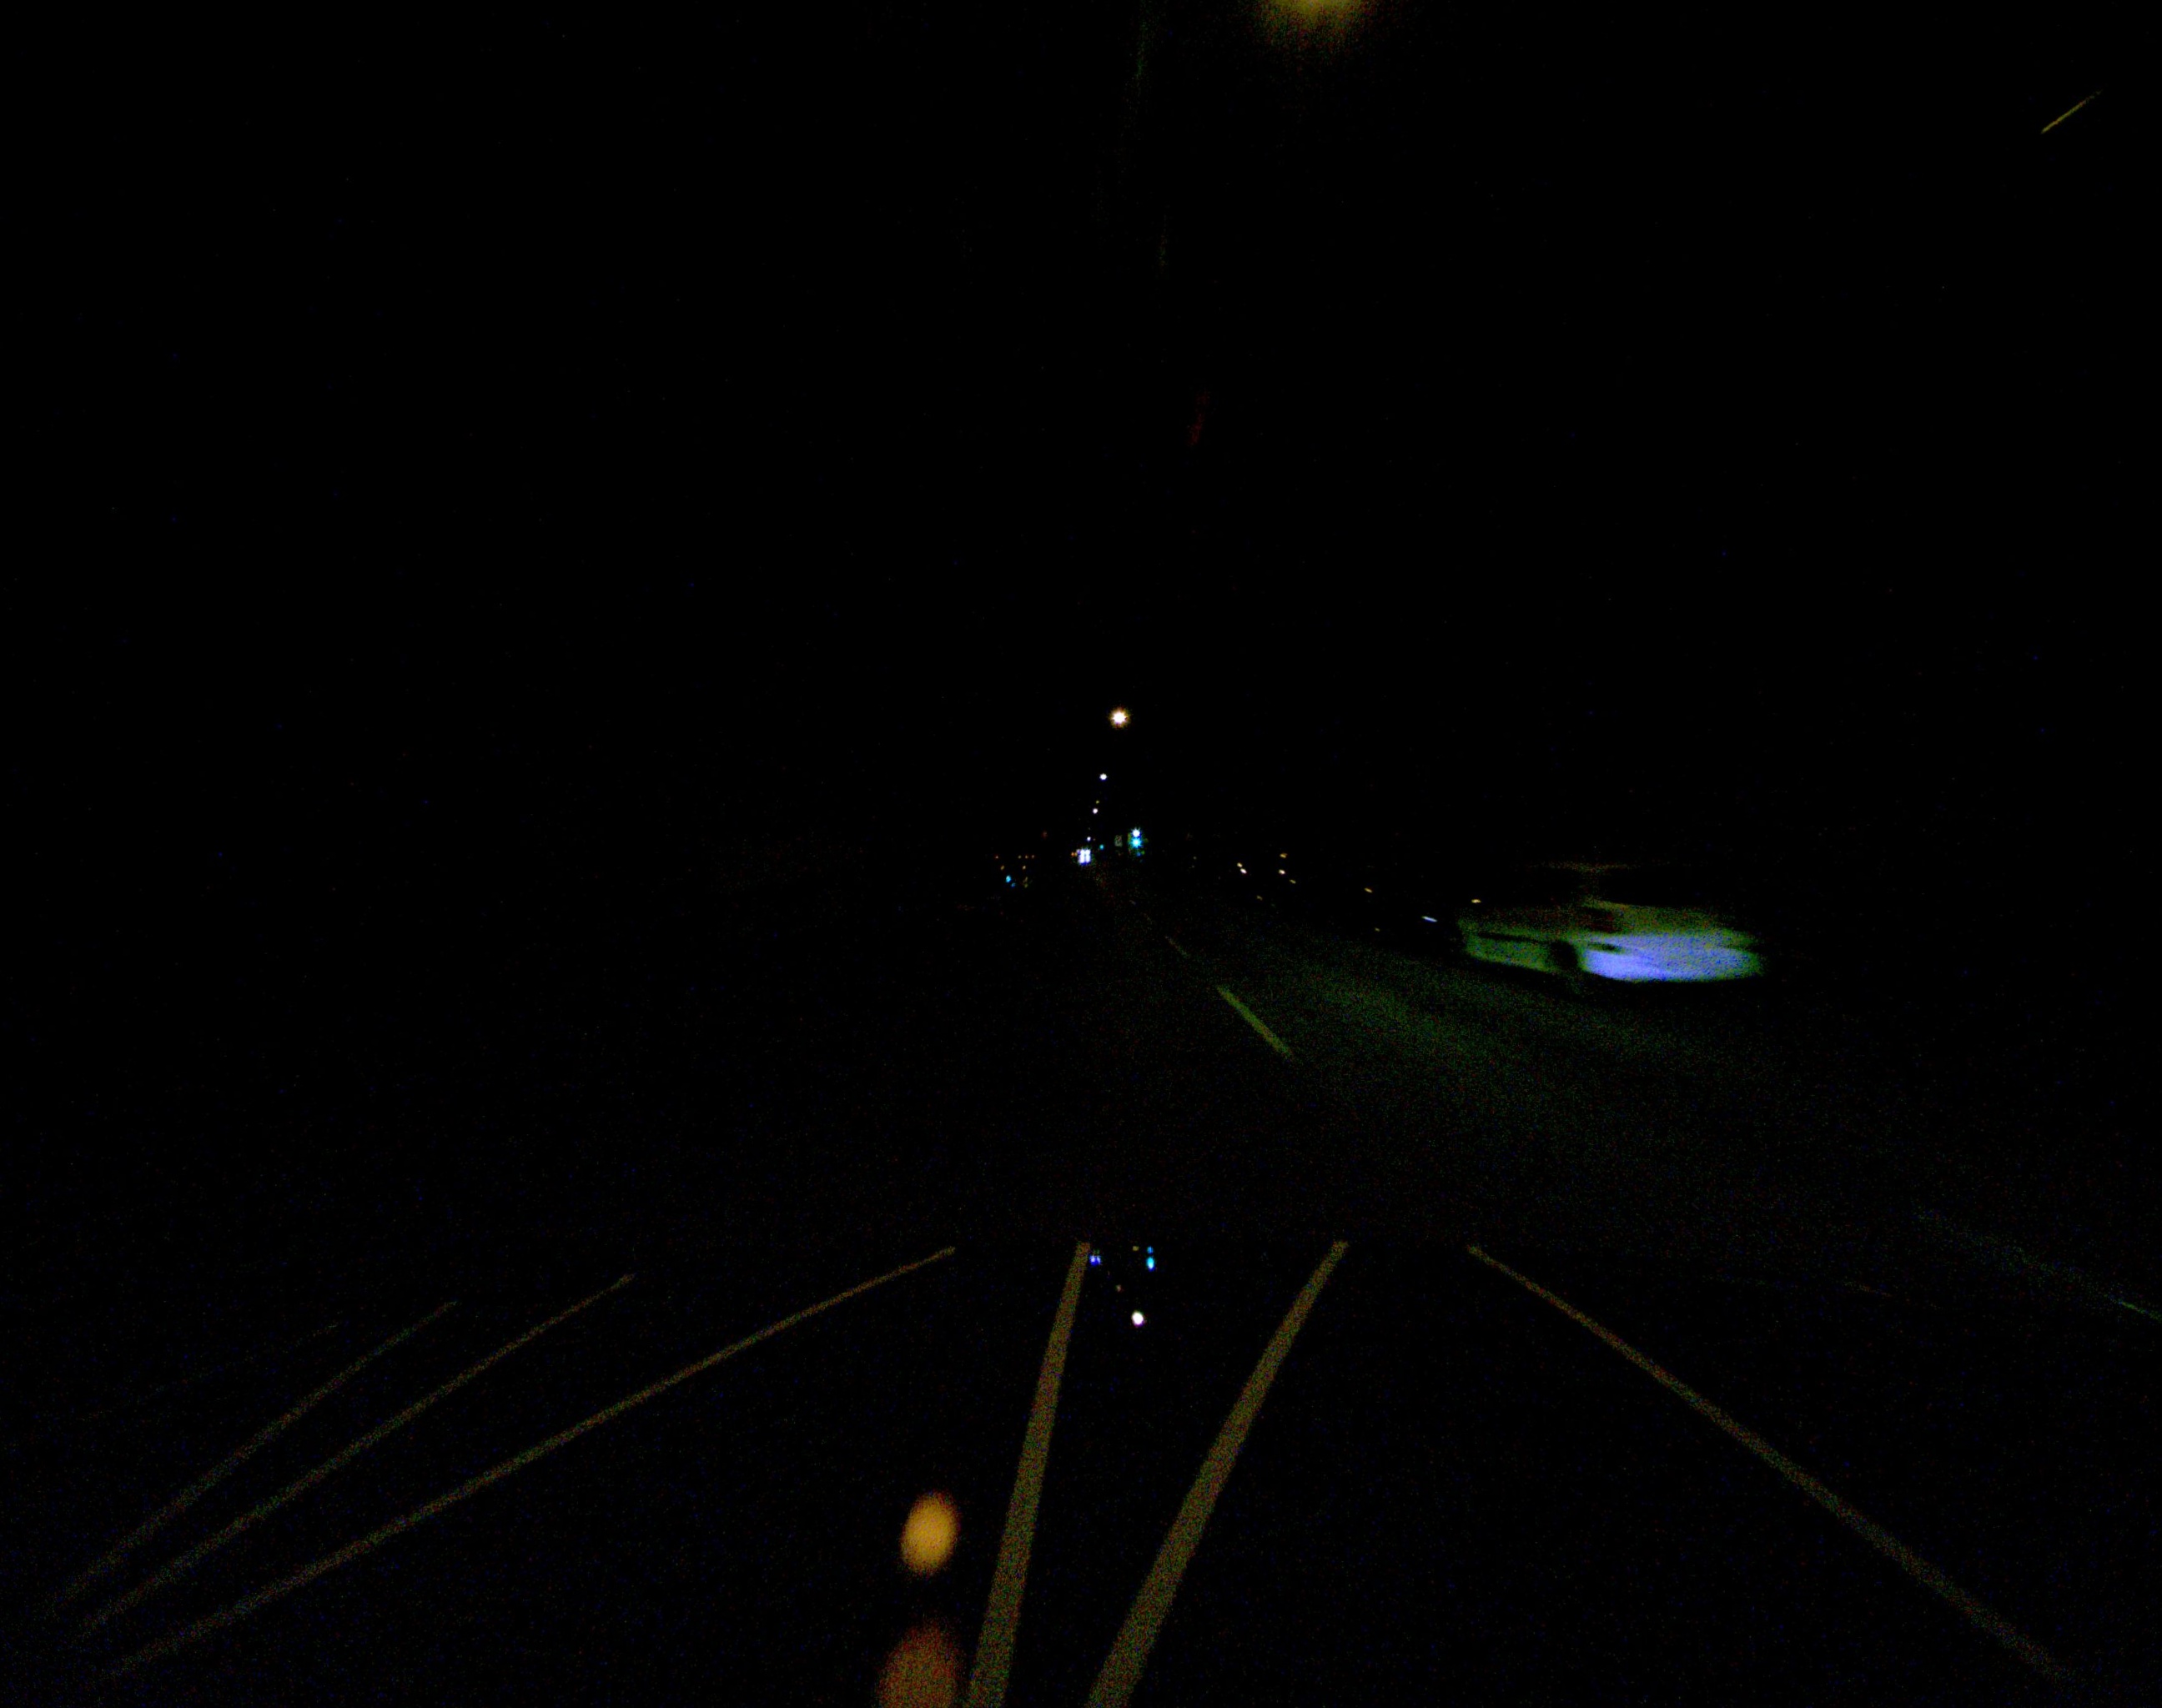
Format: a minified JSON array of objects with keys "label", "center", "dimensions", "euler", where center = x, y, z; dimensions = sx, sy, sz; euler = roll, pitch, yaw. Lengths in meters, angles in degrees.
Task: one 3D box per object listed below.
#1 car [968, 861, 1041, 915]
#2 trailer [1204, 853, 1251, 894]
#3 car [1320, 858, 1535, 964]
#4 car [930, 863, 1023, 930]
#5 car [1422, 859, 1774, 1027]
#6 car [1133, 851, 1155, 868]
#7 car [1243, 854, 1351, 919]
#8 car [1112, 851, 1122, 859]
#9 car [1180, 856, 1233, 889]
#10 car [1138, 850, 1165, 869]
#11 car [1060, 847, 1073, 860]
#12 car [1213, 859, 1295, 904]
[{"label":"car","center":[-2.355,1.012,24.572],"dimensions":[1.850,1.409,4.644],"euler":[2,1,0]},{"label":"trailer","center":[6.330,0.810,33.210],"dimensions":[1.641,1.630,3.440],"euler":[-1,1,5]},{"label":"car","center":[5.905,0.867,13.606],"dimensions":[1.868,1.483,4.279],"euler":[-1,1,0]},{"label":"car","center":[-2.510,0.976,19.146],"dimensions":[1.775,1.439,4.019],"euler":[0,0,0]},{"label":"car","center":[5.777,0.862,9.121],"dimensions":[1.626,1.483,3.780],"euler":[-1,1,0]},{"label":"car","center":[6.255,0.533,75.593],"dimensions":[1.652,1.506,3.700],"euler":[-1,1,-3]},{"label":"car","center":[6.067,0.841,21.902],"dimensions":[1.839,1.609,4.544],"euler":[-1,0,1]},{"label":"car","center":[6.895,0.275,146.943],"dimensions":[1.731,1.477,4.290],"euler":[-1,0,-1]},{"label":"car","center":[6.131,0.876,37.508],"dimensions":[1.819,1.476,4.347],"euler":[-1,0,-1]},{"label":"car","center":[6.443,0.482,69.819],"dimensions":[1.853,1.640,4.670],"euler":[-1,0,-3]},{"label":"car","center":[-2.143,-0.102,112.139],"dimensions":[1.916,1.816,4.899],"euler":[0,0,-2]},{"label":"car","center":[6.051,0.913,27.156],"dimensions":[1.840,1.438,4.544],"euler":[0,0,-1]}]
